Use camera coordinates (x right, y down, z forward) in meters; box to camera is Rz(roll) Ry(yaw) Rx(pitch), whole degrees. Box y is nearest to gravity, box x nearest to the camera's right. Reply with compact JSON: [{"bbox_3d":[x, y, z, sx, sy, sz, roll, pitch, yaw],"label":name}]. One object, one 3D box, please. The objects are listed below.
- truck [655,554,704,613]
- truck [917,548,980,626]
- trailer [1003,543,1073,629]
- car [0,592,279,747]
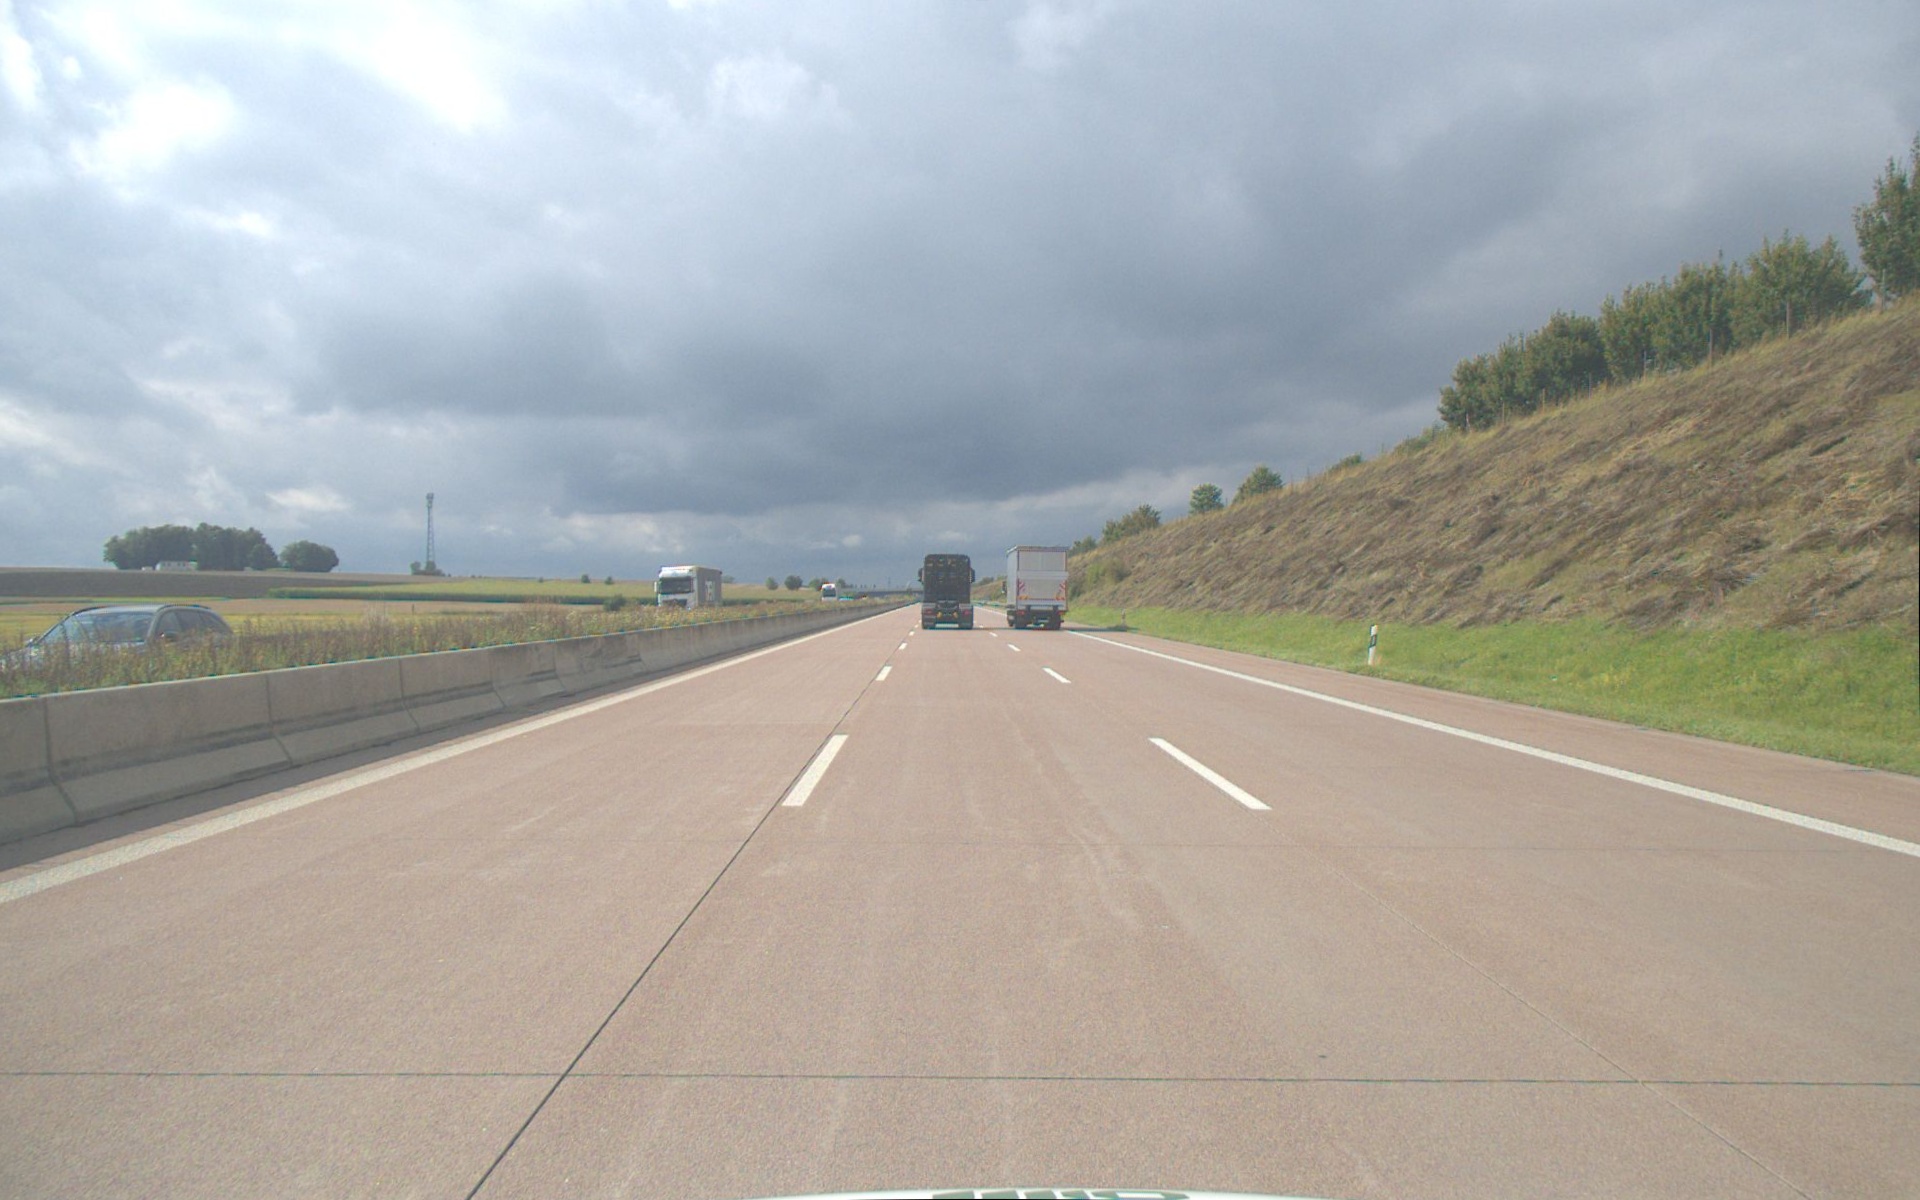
[{"bbox_3d":[-19.929,-1.153,117.755,2.714,4.028,5.288,-1,0,-2],"label":"truck"},{"bbox_3d":[-0.658,-0.577,81.394,2.790,3.612,8.315,1,0,-2],"label":"truck"},{"bbox_3d":[3.823,-0.643,83.289,2.692,4.082,8.665,1,0,-3],"label":"trailer"},{"bbox_3d":[-11.486,0.844,22.951,1.953,1.878,5.273,-1,0,-1],"label":"car"}]
